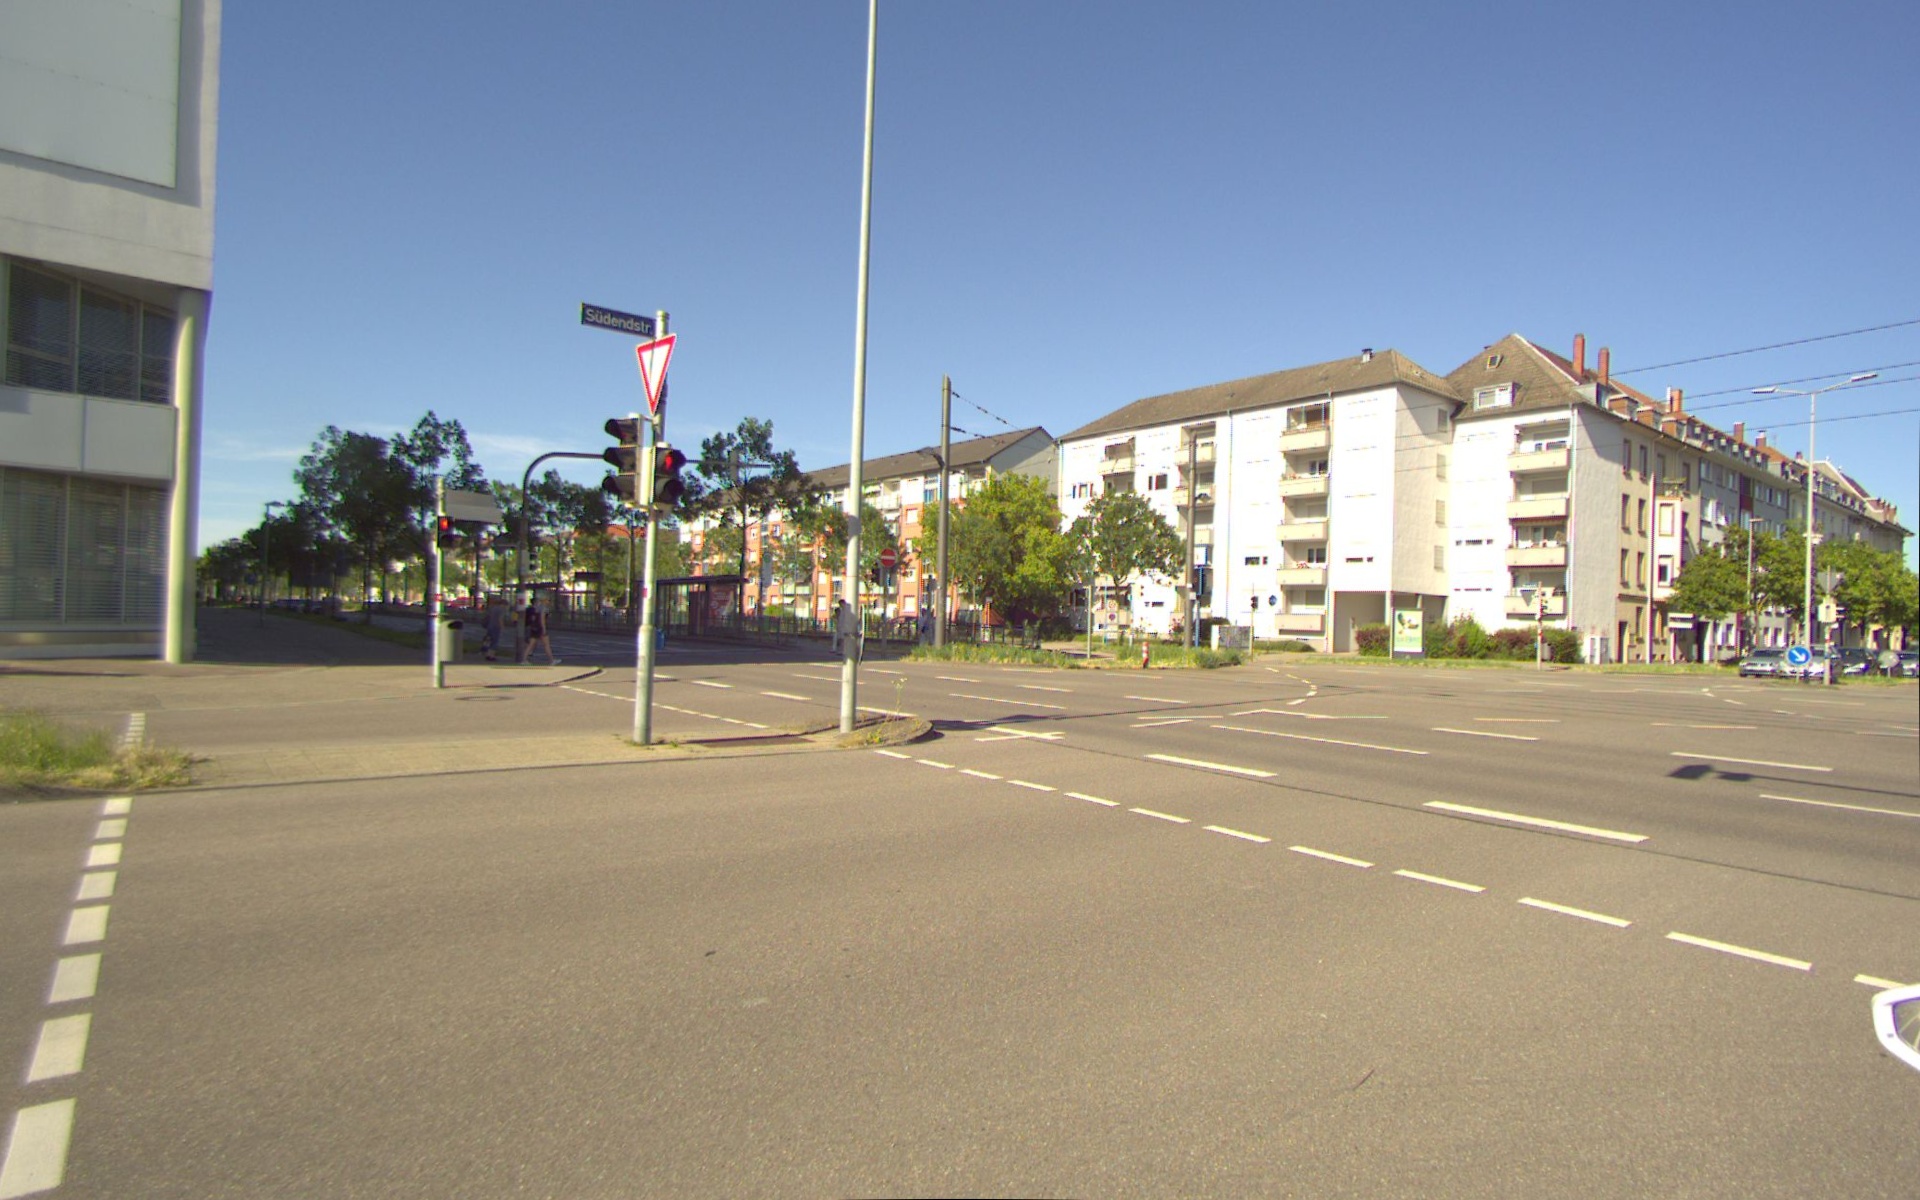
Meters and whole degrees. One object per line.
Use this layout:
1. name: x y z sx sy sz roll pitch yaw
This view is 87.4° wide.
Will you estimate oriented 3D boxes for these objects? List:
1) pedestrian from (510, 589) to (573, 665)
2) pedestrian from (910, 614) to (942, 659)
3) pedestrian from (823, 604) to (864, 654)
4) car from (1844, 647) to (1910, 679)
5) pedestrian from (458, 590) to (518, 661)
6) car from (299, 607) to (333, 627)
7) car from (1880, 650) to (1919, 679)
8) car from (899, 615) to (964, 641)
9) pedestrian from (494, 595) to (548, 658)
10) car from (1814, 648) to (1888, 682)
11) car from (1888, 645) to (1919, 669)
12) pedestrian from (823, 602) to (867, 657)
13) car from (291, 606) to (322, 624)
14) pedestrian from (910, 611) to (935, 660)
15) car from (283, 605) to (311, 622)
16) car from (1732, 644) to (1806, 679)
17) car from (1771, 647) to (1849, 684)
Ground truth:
1. pedestrian: -9.929 0.640 23.844 1.146 1.749 0.803 3 -2 -44
2. pedestrian: -1.204 1.284 35.625 0.852 1.554 0.717 3 -2 -43
3. pedestrian: -4.109 1.020 35.399 1.146 1.749 0.803 3 -2 -44
4. car: 47.664 3.294 52.173 4.359 1.451 1.676 3 1 -37
5. pedestrian: -11.978 0.656 25.485 1.146 1.749 0.803 3 -2 -44
6. car: -51.884 1.367 80.897 1.767 1.540 3.954 3 -2 -40
7. car: 54.373 3.694 57.590 4.361 1.451 1.675 3 1 -38
8. car: -1.917 1.924 68.602 4.313 1.451 1.693 4 1 0
9. pedestrian: -12.344 0.751 28.276 1.146 1.749 0.803 3 -2 -44
10. car: 43.010 3.151 48.453 4.356 1.451 1.677 3 1 -35
11. car: 87.951 5.250 91.763 1.985 2.040 4.466 4 -2 -41
12. pedestrian: -3.860 0.998 33.731 1.146 1.794 0.912 3 -2 -43
13. car: -57.406 1.316 88.213 1.767 1.540 3.954 3 -2 -40
14. pedestrian: -1.369 1.303 36.916 0.797 1.749 1.155 1 -1 3
15. car: -63.748 1.298 96.520 1.767 1.540 3.954 3 -2 -40
16. car: 38.753 2.956 48.103 4.359 1.451 1.676 3 1 -37
17. car: 37.610 2.898 44.411 4.359 1.451 1.676 3 1 -37
